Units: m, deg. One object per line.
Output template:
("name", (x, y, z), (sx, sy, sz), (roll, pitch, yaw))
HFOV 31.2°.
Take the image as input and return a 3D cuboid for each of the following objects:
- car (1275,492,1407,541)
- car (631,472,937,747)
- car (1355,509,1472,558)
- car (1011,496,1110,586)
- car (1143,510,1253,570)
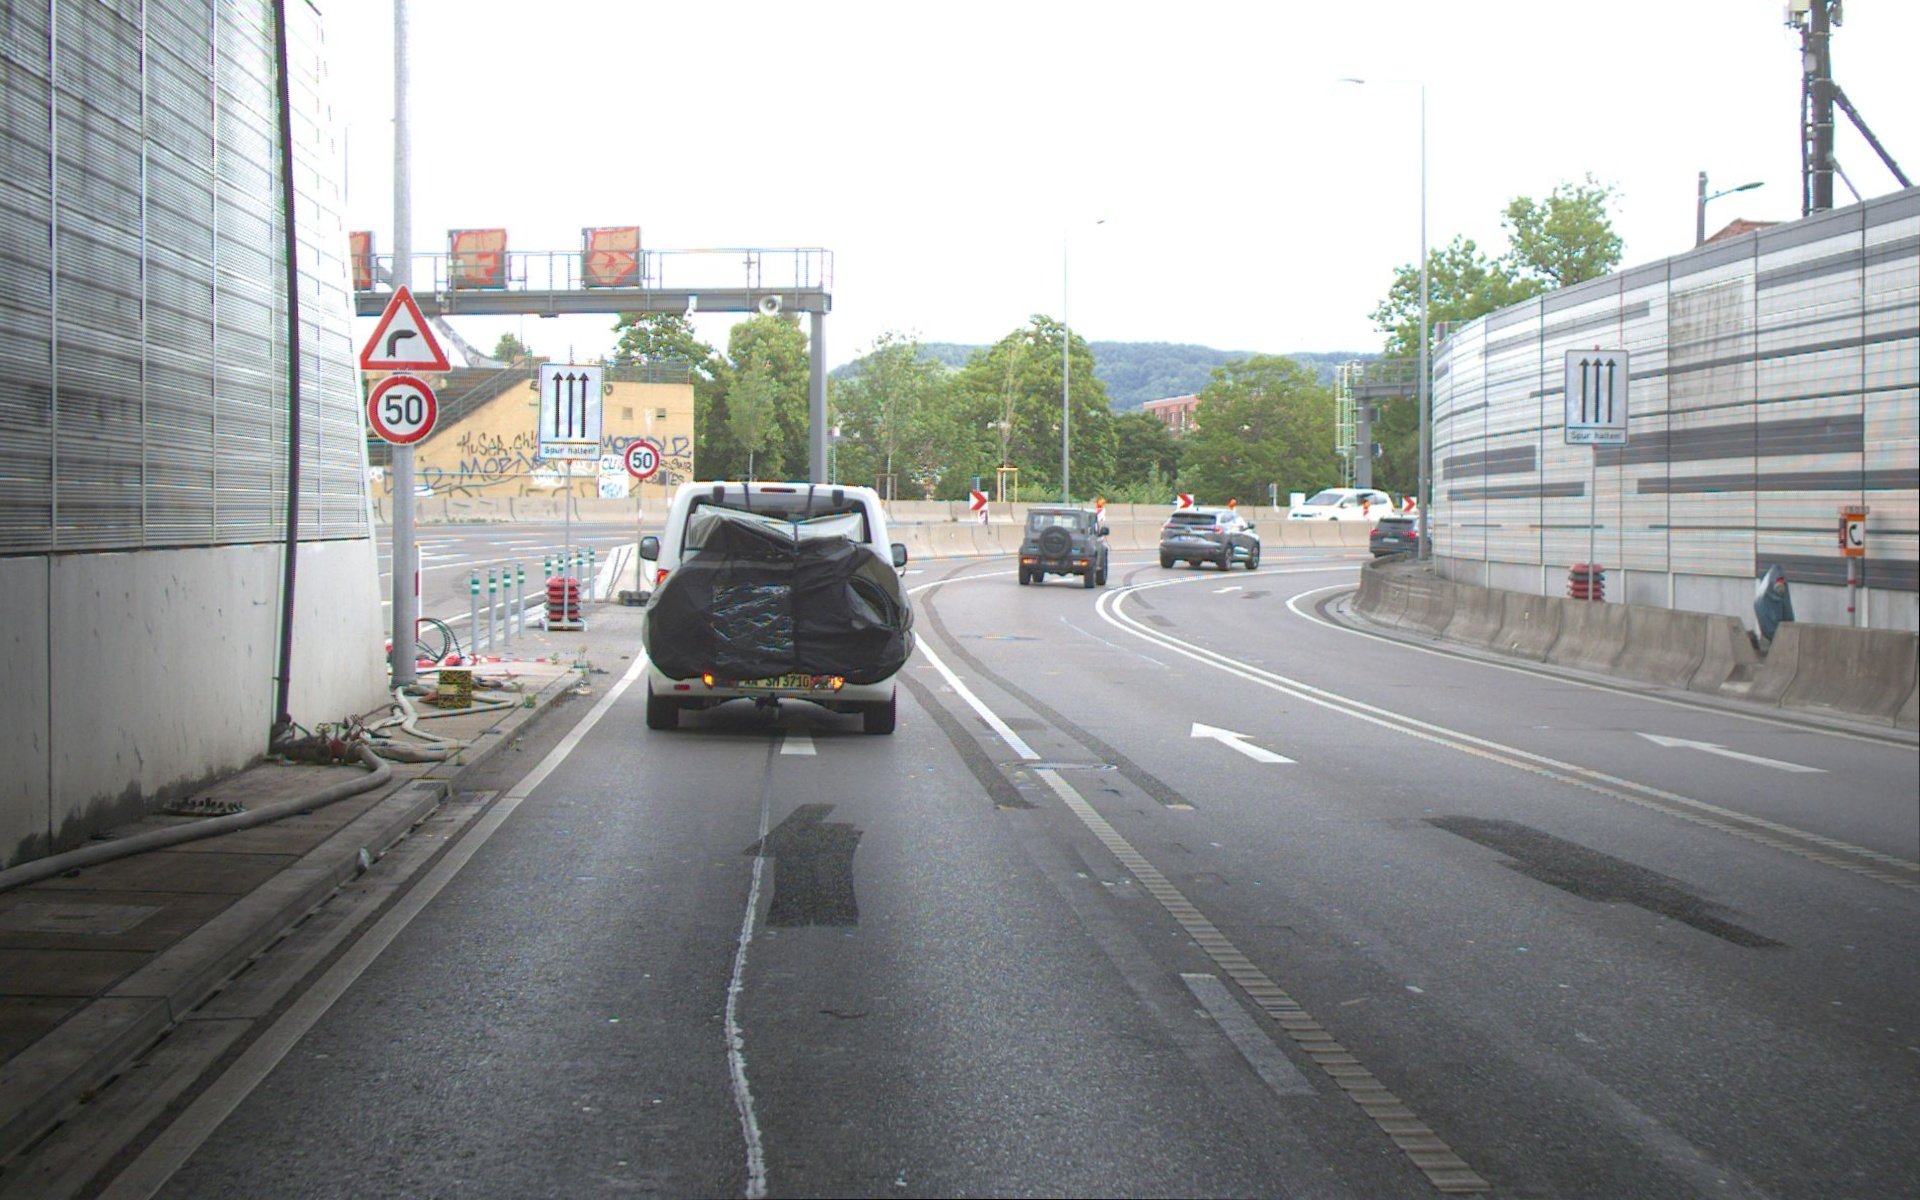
("car", (14.366, -3.125, 129.375), (5.260, 1.744, 1.955), (-1, 2, -43))
("car", (-1.467, 0.003, 26.317), (1.992, 1.852, 5.642), (1, 1, -6))
("car", (14.006, -2.060, 105.990), (1.997, 1.464, 3.992), (0, 1, 34))
("car", (2.209, -1.284, 74.375), (1.994, 1.853, 4.000), (2, 1, 3))
("car", (6.353, -1.611, 91.241), (2.014, 1.483, 4.062), (2, 2, 17))
